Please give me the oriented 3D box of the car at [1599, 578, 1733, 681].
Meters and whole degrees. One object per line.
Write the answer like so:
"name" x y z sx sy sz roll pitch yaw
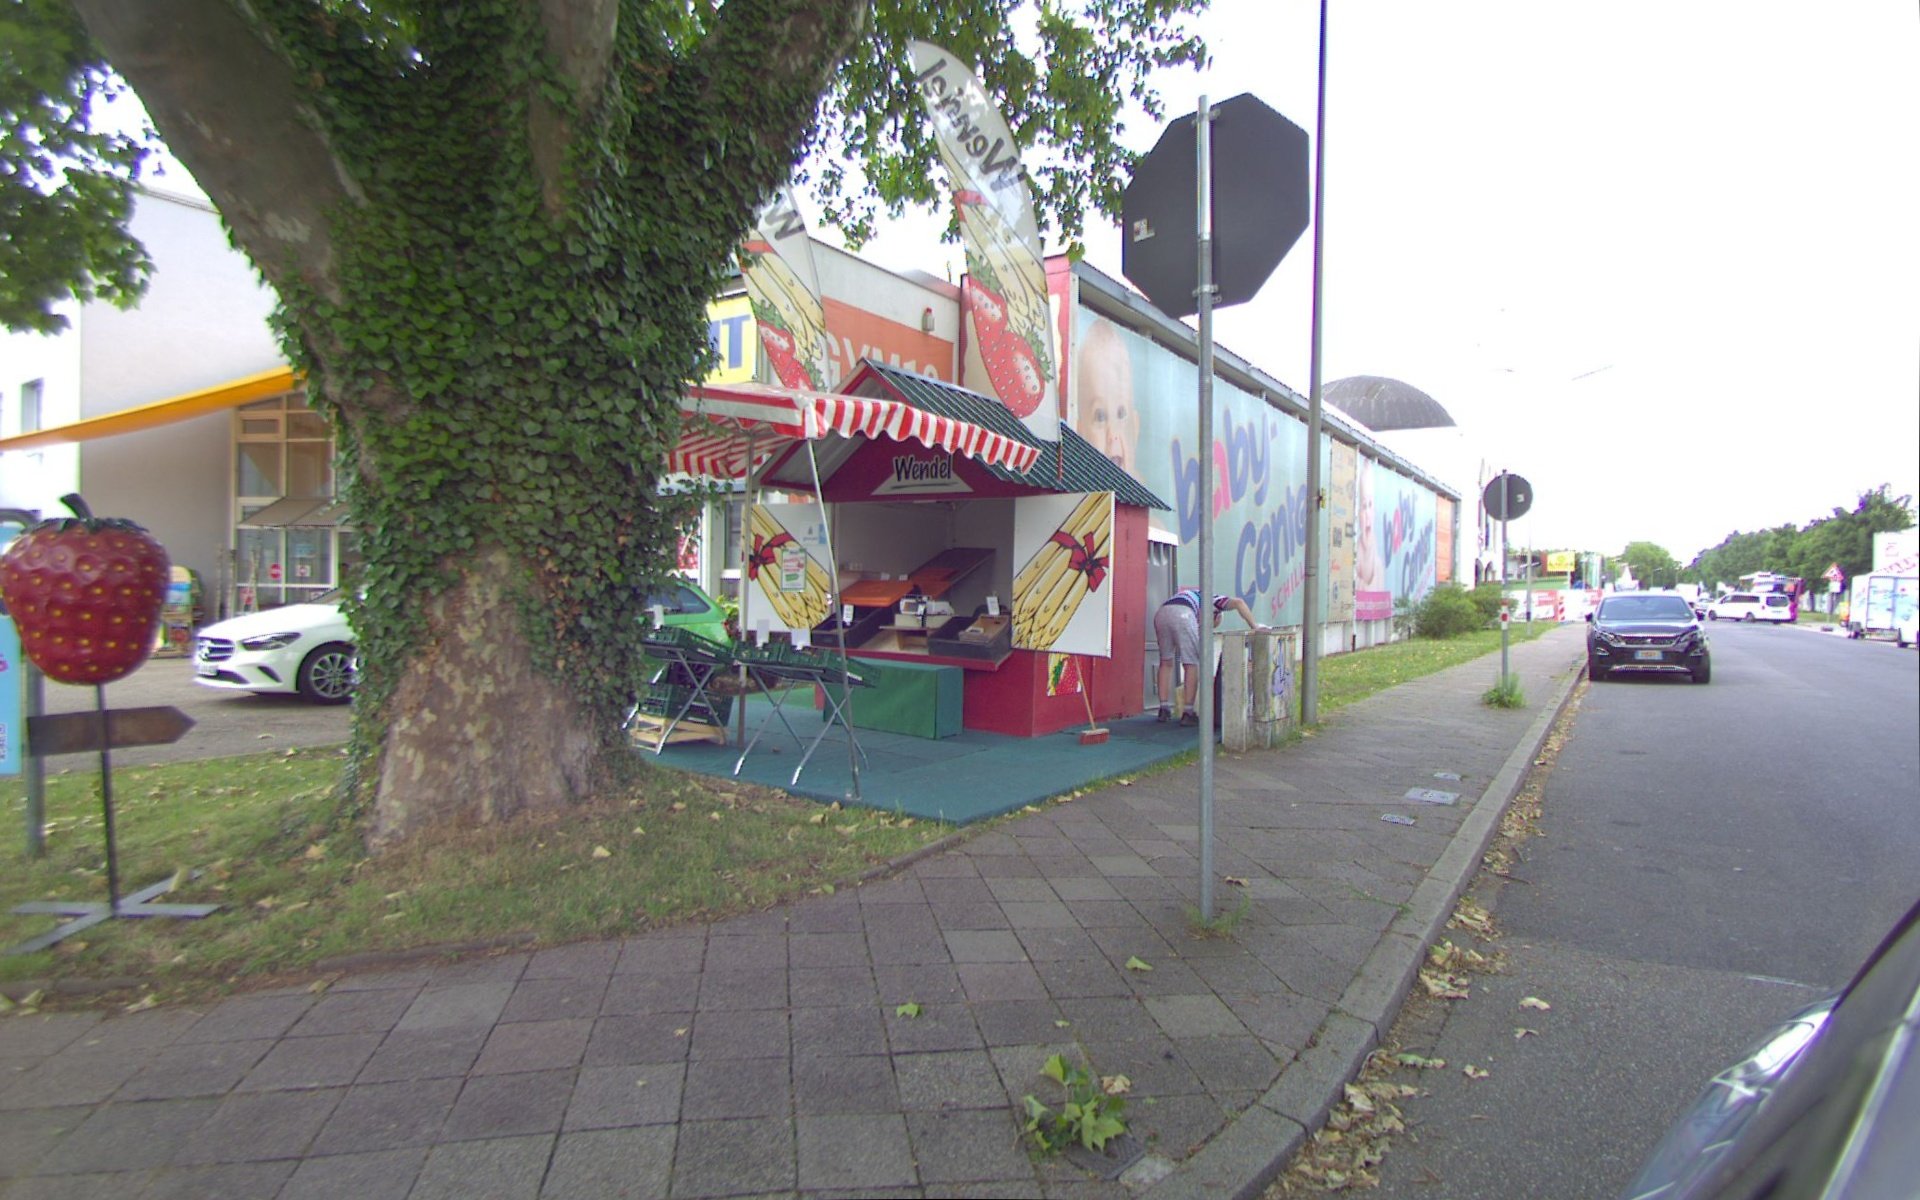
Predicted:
"car" 13.136 0.492 19.050 1.800 1.687 4.585 -2 -1 33

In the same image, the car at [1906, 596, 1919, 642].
"car" 31.776 0.670 32.113 1.759 1.497 4.185 4 2 33

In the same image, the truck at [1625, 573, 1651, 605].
"truck" 92.855 -1.530 138.562 2.767 4.169 8.178 -2 -1 34

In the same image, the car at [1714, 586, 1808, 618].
"car" 51.277 0.080 64.942 1.954 1.973 5.018 1 1 -1

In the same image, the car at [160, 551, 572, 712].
"car" -6.879 0.283 12.162 1.730 1.588 3.958 1 1 30

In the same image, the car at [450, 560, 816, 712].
"car" -3.779 0.335 12.258 1.736 1.531 3.946 1 1 38

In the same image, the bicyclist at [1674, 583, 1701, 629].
"bicyclist" 29.007 0.235 40.367 0.803 1.815 1.193 -1 0 33

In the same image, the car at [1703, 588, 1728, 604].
"car" 70.924 -0.387 95.058 1.585 1.483 3.716 3 2 33

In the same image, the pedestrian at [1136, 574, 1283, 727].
"pedestrian" 2.346 0.429 9.498 1.013 1.330 0.950 1 1 43

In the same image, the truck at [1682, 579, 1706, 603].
"truck" 120.275 -1.526 165.953 2.738 3.768 7.087 3 2 33

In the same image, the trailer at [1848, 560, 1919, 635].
"trailer" 37.844 -0.094 40.915 2.132 2.817 4.646 4 2 33

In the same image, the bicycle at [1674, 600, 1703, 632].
"bicycle" 29.035 0.608 40.378 0.795 1.195 2.596 -1 0 33

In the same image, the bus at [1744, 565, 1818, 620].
"bus" 59.355 -0.549 73.449 2.655 3.464 13.058 5 3 34
